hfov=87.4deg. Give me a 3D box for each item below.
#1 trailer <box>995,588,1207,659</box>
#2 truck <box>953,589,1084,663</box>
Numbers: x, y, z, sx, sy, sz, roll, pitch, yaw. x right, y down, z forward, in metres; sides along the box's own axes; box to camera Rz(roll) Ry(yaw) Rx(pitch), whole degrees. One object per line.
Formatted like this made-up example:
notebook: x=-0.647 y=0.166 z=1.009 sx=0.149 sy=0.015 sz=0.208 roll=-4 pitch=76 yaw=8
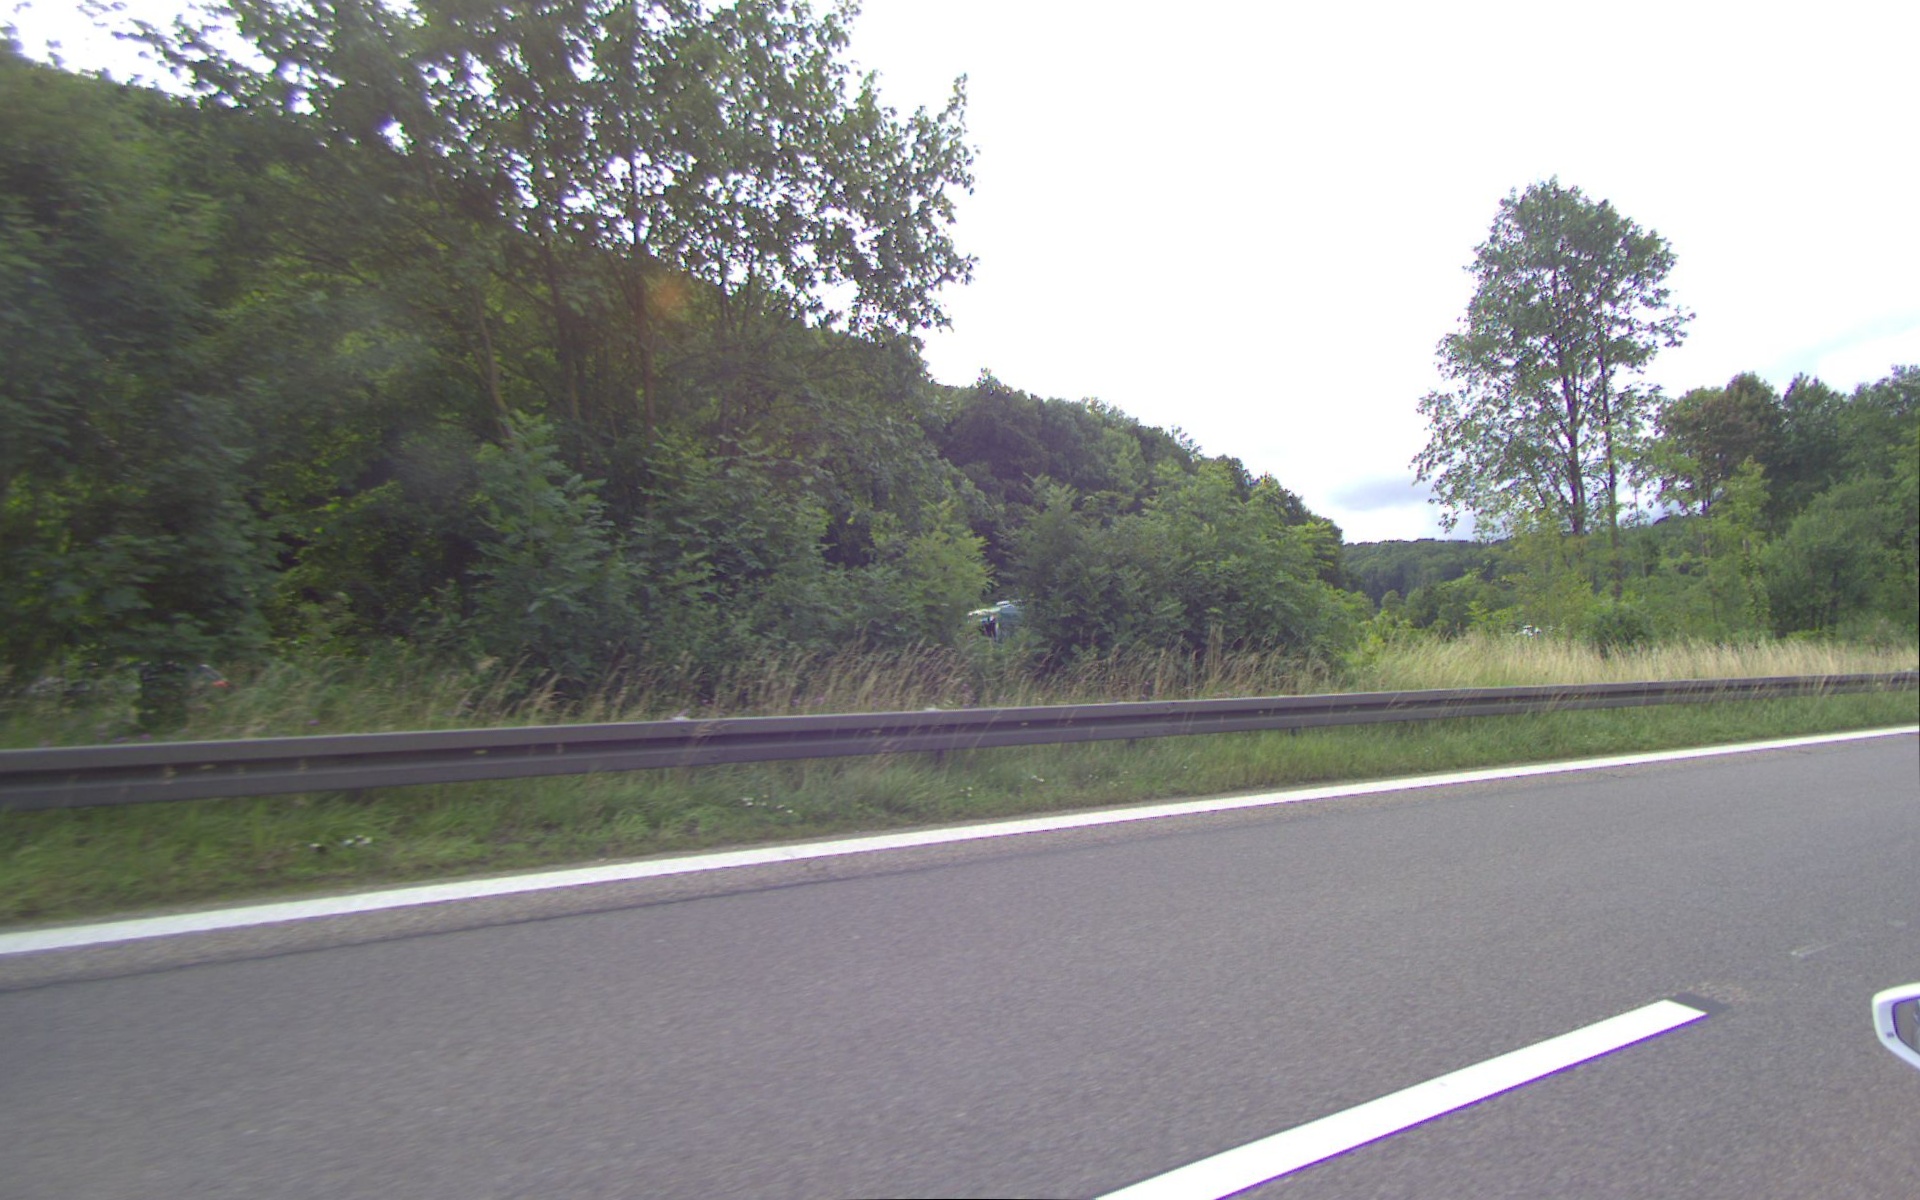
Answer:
trailer: x=7.648 y=1.143 z=51.722 sx=13.723 sy=3.263 sz=3.120 roll=1 pitch=0 yaw=-45
truck: x=2.796 y=1.154 z=46.910 sx=5.694 sy=3.263 sz=3.120 roll=1 pitch=0 yaw=-44
